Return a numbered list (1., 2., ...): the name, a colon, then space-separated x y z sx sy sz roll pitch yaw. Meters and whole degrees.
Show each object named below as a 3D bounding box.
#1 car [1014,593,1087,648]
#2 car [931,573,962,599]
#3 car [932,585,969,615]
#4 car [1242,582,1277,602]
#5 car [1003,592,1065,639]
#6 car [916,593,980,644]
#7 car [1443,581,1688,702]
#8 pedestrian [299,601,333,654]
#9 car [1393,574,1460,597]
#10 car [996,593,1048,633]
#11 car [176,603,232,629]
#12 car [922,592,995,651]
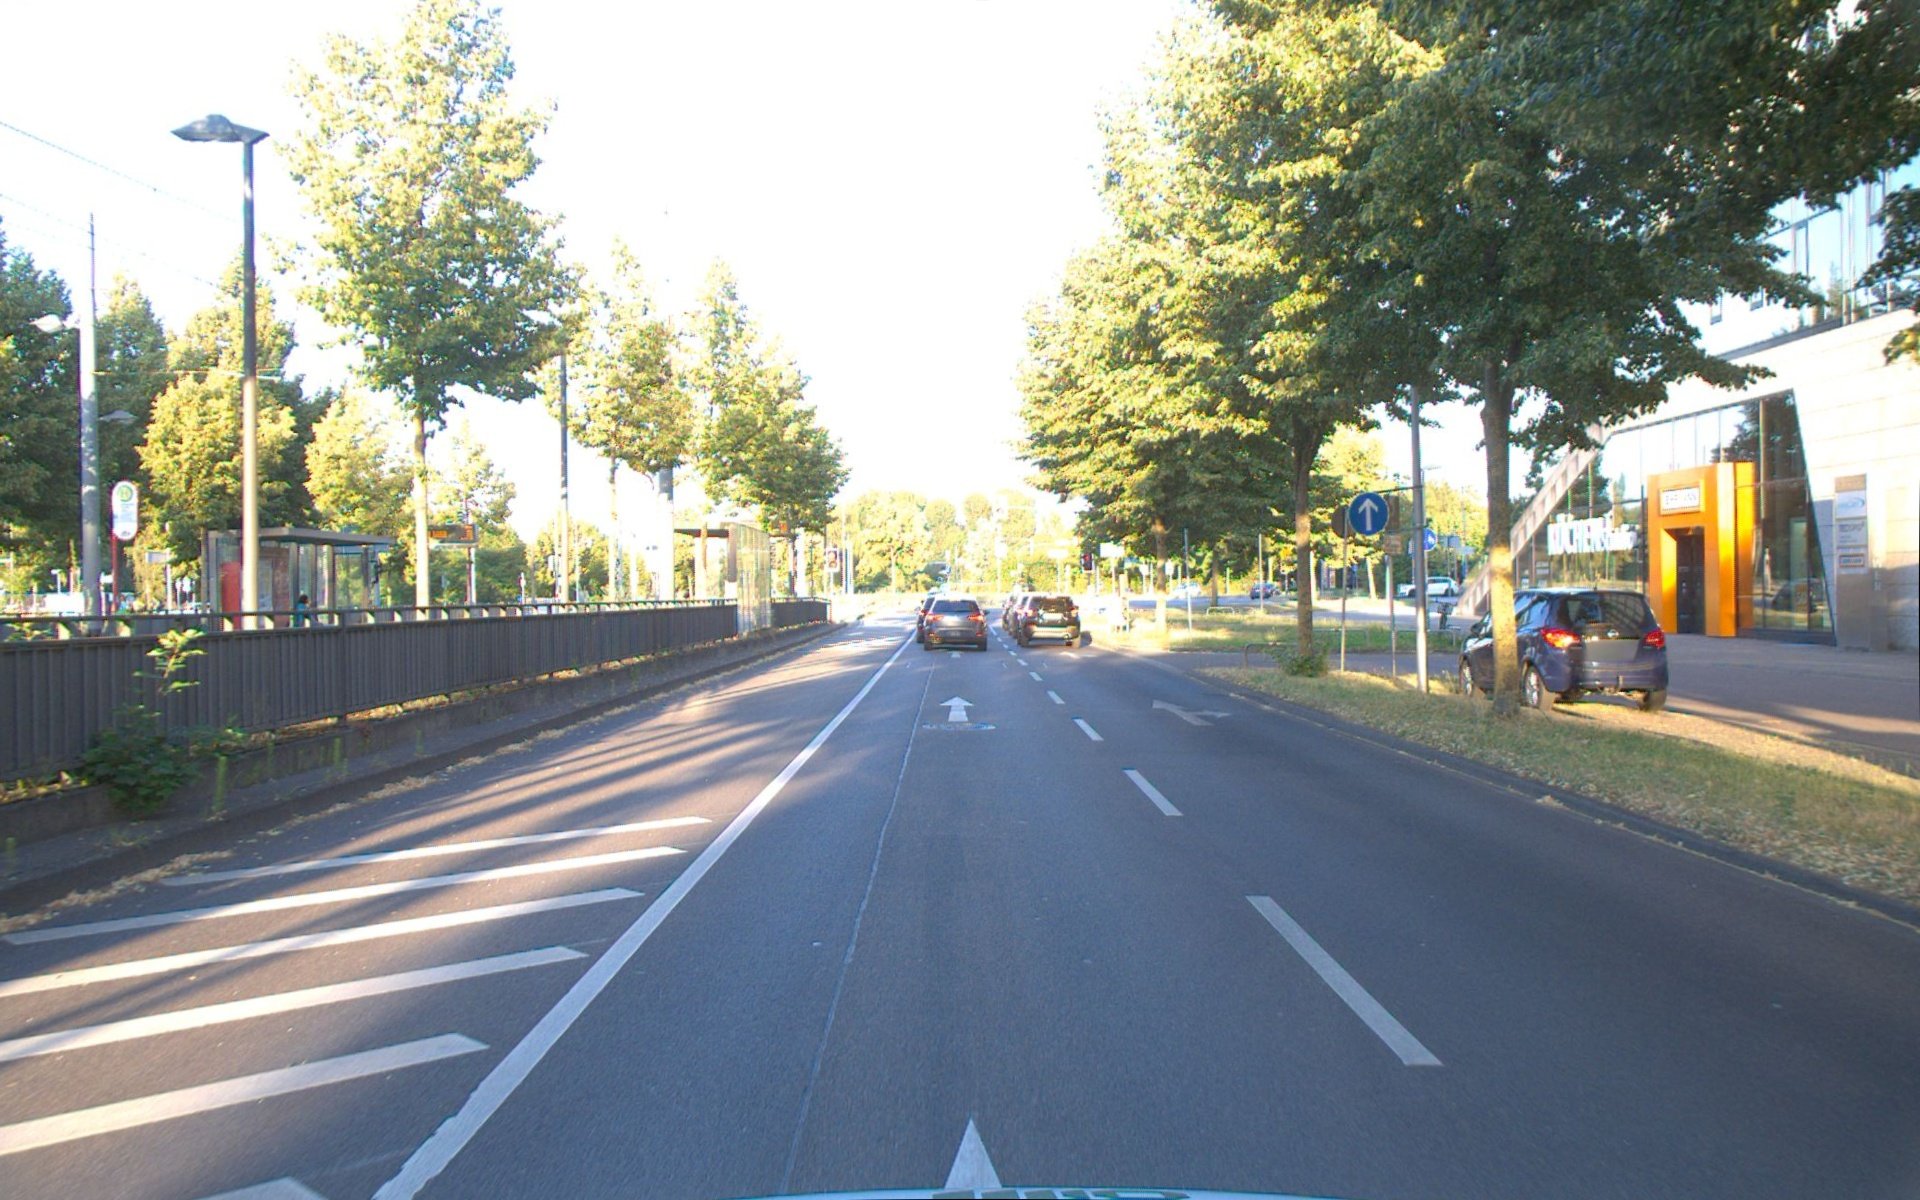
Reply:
1. car: 2.642 0.572 49.093 1.873 1.512 3.999 -1 0 -1
2. car: -0.855 -0.866 103.032 1.873 1.512 3.999 -1 0 -1
3. car: -0.538 0.004 87.053 1.873 1.512 3.999 -1 0 -1
4. car: 26.590 -0.719 146.707 1.955 1.758 3.995 -1 0 27
5. car: 2.488 0.509 56.386 1.873 1.512 3.999 -1 0 -1
6. car: -0.394 0.544 51.659 1.873 1.512 3.999 -1 0 -1
7. car: 8.261 0.510 22.974 1.722 1.491 4.156 -1 0 -3
8. pedestrian: -16.863 0.716 43.300 0.602 1.342 0.744 -1 0 -4
9. car: 33.355 -1.037 118.419 4.333 1.512 1.919 -1 0 4
10. car: 2.455 0.494 66.410 1.873 1.512 3.999 -1 0 -1
11. car: -51.117 1.053 111.900 1.953 1.691 4.000 -1 0 -1
12. car: -0.075 0.563 45.358 1.873 1.512 3.999 -1 0 -1
